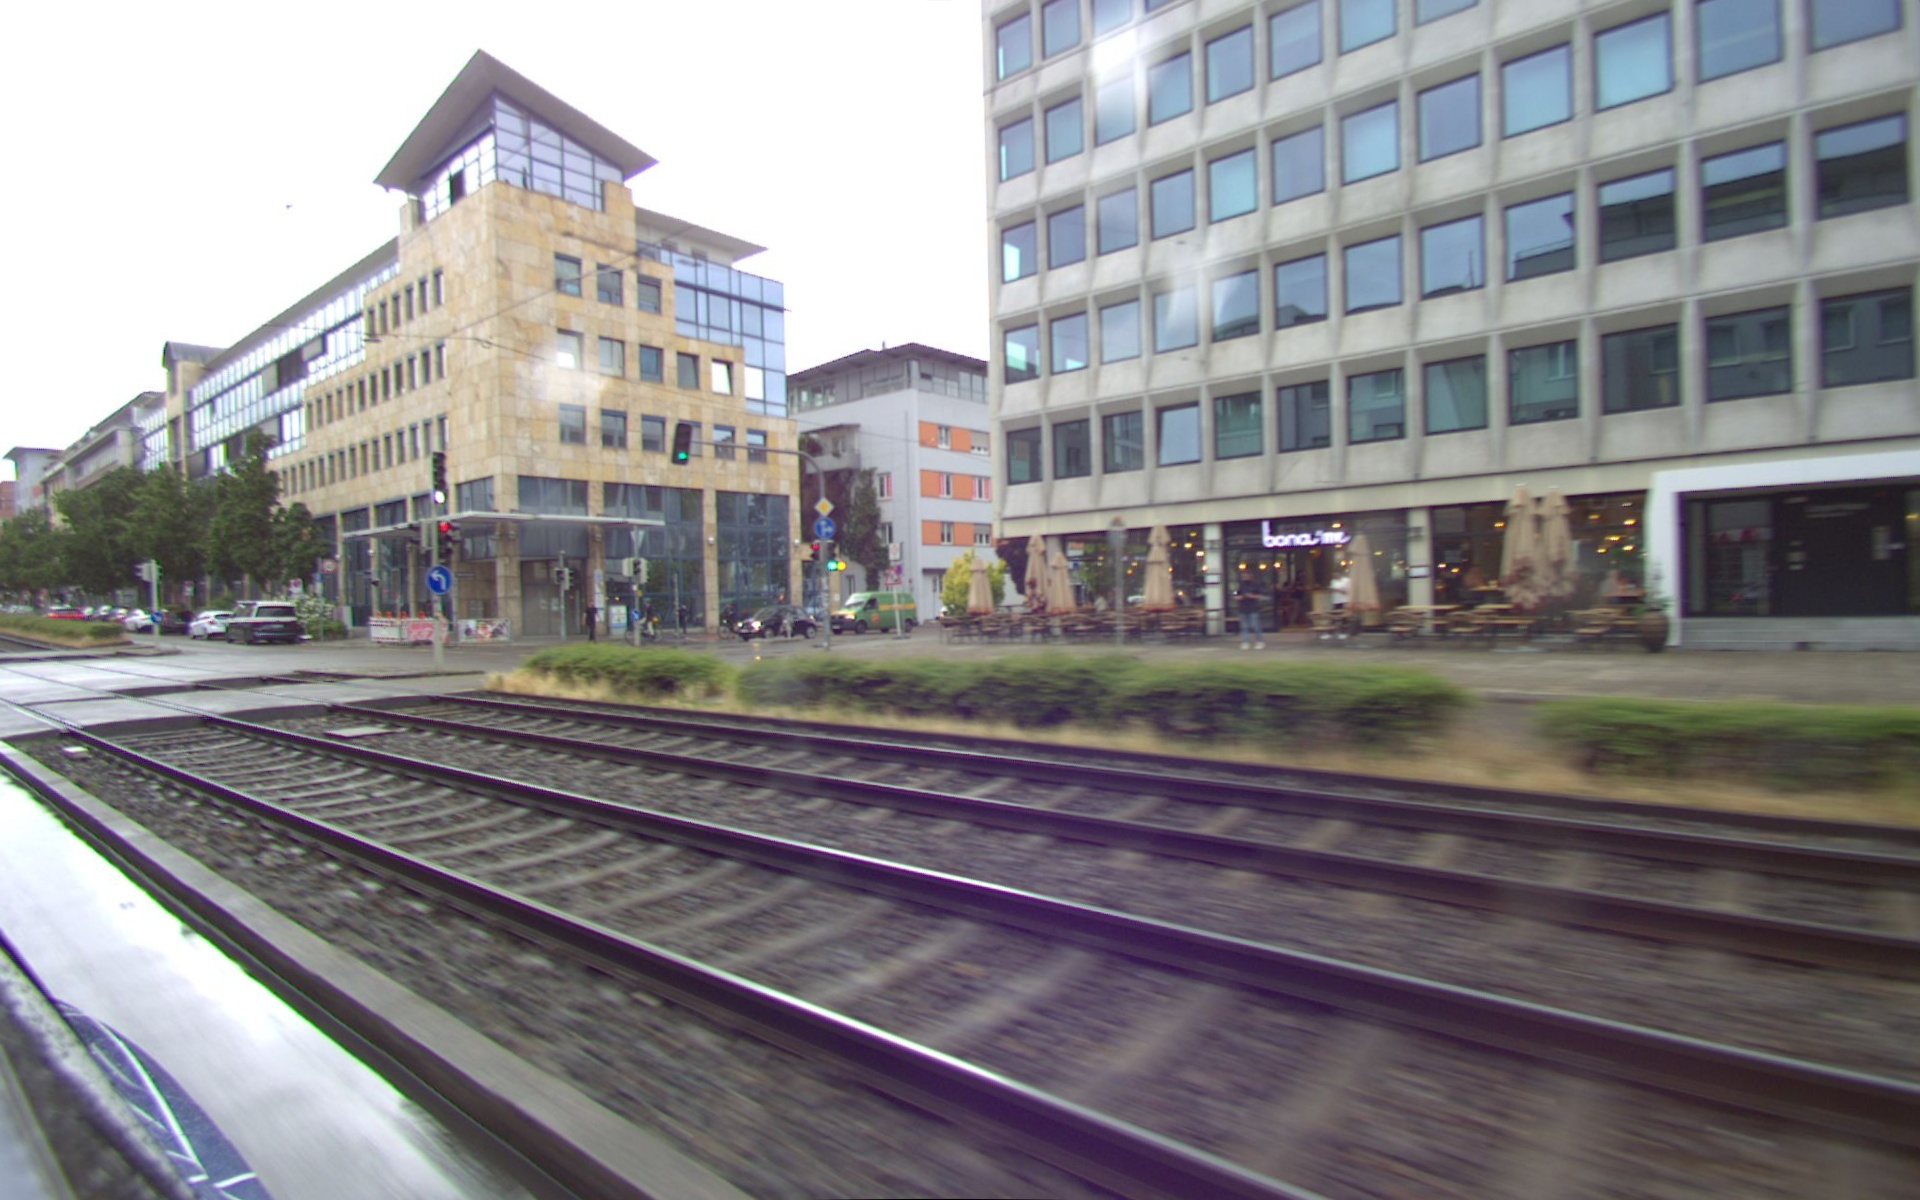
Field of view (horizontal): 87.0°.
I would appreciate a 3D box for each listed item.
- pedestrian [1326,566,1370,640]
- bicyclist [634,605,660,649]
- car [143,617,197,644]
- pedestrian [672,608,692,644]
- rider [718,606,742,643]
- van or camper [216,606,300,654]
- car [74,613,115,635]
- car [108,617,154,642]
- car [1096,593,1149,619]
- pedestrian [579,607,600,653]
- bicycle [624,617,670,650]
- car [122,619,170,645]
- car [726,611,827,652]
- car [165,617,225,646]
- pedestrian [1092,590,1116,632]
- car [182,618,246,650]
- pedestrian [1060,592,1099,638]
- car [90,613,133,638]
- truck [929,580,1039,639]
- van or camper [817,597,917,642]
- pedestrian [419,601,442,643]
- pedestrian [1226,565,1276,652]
[{"bbox_3d":[9.378,0.080,24.469,0.843,1.762,0.559,-2,0,37],"label":"pedestrian"},{"bbox_3d":[-13.286,1.136,42.944,0.783,1.818,0.701,-2,0,41],"label":"bicyclist"},{"bbox_3d":[-46.041,1.768,58.971,3.996,1.497,1.672,-2,0,40],"label":"car"},{"bbox_3d":[-13.148,1.220,47.842,0.703,1.648,0.573,-2,1,41],"label":"pedestrian"},{"bbox_3d":[-10.595,1.132,46.593,0.783,1.688,0.701,-2,0,41],"label":"rider"},{"bbox_3d":[-32.729,1.338,47.109,5.195,2.012,1.996,0,1,41],"label":"van or camper"},{"bbox_3d":[-63.103,1.713,73.761,4.620,1.552,1.632,-1,0,42],"label":"car"},{"bbox_3d":[-53.898,1.911,65.764,4.291,1.509,1.632,-1,0,42],"label":"car"},{"bbox_3d":[12.658,0.488,79.076,1.966,1.940,4.012,-2,1,-31],"label":"car"},{"bbox_3d":[-14.871,1.191,40.658,0.667,1.794,0.705,-2,0,-14],"label":"pedestrian"},{"bbox_3d":[-13.268,1.401,42.960,0.659,1.321,1.746,-2,0,40],"label":"bicycle"},{"bbox_3d":[-49.989,1.951,62.126,4.191,1.509,1.632,-1,0,41],"label":"car"},{"bbox_3d":[-7.822,1.319,43.379,1.890,1.541,3.945,-2,0,42],"label":"car"},{"bbox_3d":[-42.469,1.739,56.155,4.291,1.497,1.672,-2,0,39],"label":"car"},{"bbox_3d":[4.658,0.346,32.788,0.553,1.332,0.517,-1,1,41],"label":"pedestrian"},{"bbox_3d":[-38.351,1.746,51.982,4.251,1.497,1.672,-2,0,40],"label":"car"},{"bbox_3d":[4.137,0.508,35.026,0.964,1.544,0.885,-2,0,39],"label":"pedestrian"},{"bbox_3d":[-58.046,1.740,69.230,4.291,1.613,1.632,-1,0,42],"label":"car"},{"bbox_3d":[1.495,0.490,58.121,2.459,3.187,7.078,-2,0,39],"label":"truck"},{"bbox_3d":[-4.671,0.968,51.383,2.095,2.077,5.031,-2,0,40],"label":"van or camper"},{"bbox_3d":[-23.789,0.976,45.445,0.679,1.828,0.693,-2,0,43],"label":"pedestrian"},{"bbox_3d":[6.296,0.190,21.885,0.843,1.836,0.559,-2,0,37],"label":"pedestrian"}]
